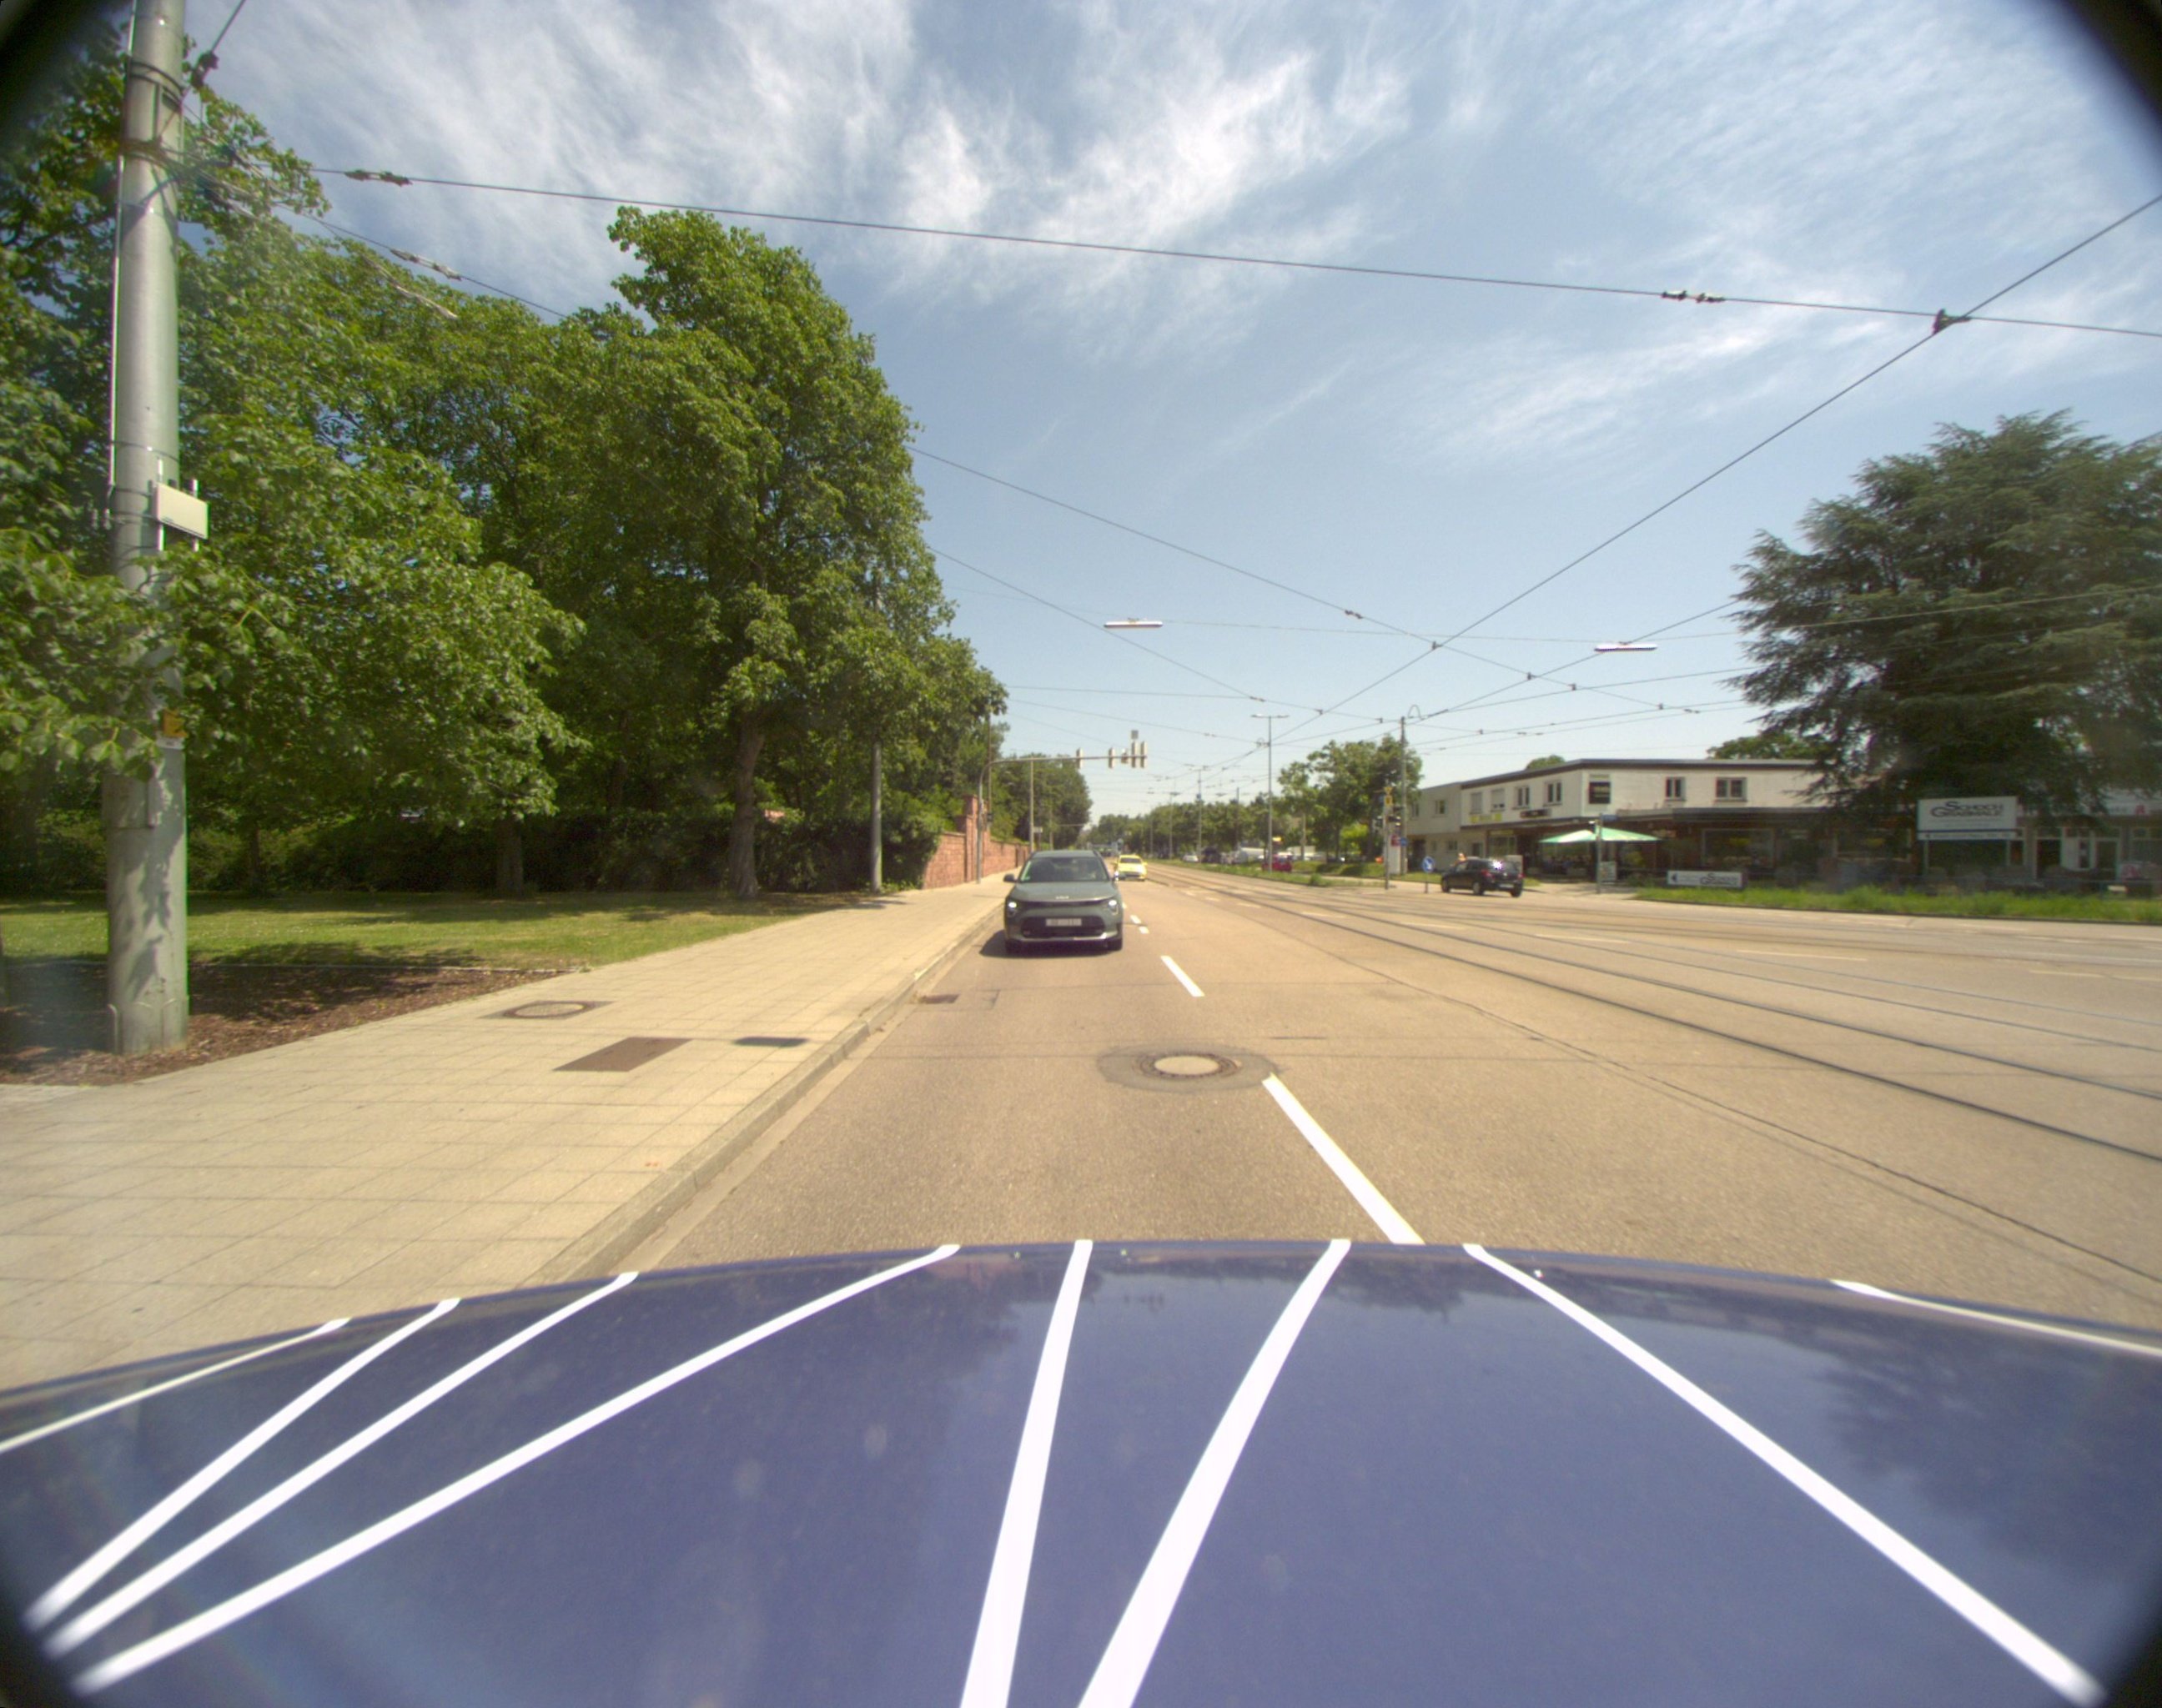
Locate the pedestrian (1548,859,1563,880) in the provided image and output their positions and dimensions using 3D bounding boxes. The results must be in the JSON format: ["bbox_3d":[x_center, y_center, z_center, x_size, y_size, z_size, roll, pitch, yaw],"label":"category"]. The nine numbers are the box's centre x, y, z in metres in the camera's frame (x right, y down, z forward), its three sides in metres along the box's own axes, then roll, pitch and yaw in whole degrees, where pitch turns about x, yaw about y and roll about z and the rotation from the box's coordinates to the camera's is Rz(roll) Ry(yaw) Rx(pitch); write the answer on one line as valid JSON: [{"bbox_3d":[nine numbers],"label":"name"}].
[{"bbox_3d":[28.637,0.919,45.855,0.576,1.231,0.491,0,1,0],"label":"pedestrian"}]

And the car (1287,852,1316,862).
[{"bbox_3d":[30.120,0.434,103.951,3.415,1.386,1.602,0,1,-5],"label":"car"}]

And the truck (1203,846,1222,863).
[{"bbox_3d":[20.740,0.045,119.850,2.225,2.526,4.929,1,0,1],"label":"truck"}]

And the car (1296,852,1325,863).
[{"bbox_3d":[30.682,0.490,101.691,3.415,1.386,1.602,0,1,-5],"label":"car"}]

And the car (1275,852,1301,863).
[{"bbox_3d":[31.412,0.524,115.180,3.415,1.497,1.602,0,1,-5],"label":"car"}]

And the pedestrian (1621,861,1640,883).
[{"bbox_3d":[28.821,0.962,39.842,0.518,1.121,0.674,1,1,1],"label":"pedestrian"}]

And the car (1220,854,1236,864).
[{"bbox_3d":[20.051,0.694,103.839,1.674,1.378,3.569,1,0,2],"label":"car"}]

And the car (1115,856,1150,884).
[{"bbox_3d":[2.878,0.875,43.040,1.620,1.413,3.655,3,1,0],"label":"car"}]

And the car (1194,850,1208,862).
[{"bbox_3d":[21.117,0.351,133.514,1.681,1.963,4.509,1,0,0],"label":"car"}]

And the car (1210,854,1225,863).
[{"bbox_3d":[20.373,0.647,113.642,1.674,1.378,3.670,1,0,2],"label":"car"}]

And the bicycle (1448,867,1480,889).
[{"bbox_3d":[20.317,1.254,40.344,0.696,1.142,1.931,0,0,0],"label":"bicycle"}]

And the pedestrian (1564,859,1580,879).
[{"bbox_3d":[30.045,0.918,46.499,0.518,1.157,0.674,1,1,1],"label":"pedestrian"}]

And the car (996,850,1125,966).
[{"bbox_3d":[-0.253,0.762,12.924,1.789,1.561,4.183,-2,1,1],"label":"car"}]

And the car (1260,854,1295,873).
[{"bbox_3d":[15.957,0.725,61.804,1.629,1.475,3.827,0,1,-4],"label":"car"}]

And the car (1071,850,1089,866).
[{"bbox_3d":[-0.093,0.441,85.010,1.998,1.652,3.999,1,1,1],"label":"car"}]

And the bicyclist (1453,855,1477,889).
[{"bbox_3d":[20.322,0.961,40.263,0.696,1.755,1.137,0,0,0],"label":"bicyclist"}]

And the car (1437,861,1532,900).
[{"bbox_3d":[16.117,1.016,30.579,1.714,1.430,3.864,0,1,-1],"label":"car"}]

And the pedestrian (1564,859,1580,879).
[{"bbox_3d":[29.258,0.878,45.300,0.518,1.192,0.674,1,1,1],"label":"pedestrian"}]

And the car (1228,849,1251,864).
[{"bbox_3d":[20.239,0.286,97.341,1.998,1.872,4.661,1,1,1],"label":"car"}]

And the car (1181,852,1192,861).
[{"bbox_3d":[20.914,0.495,150.492,1.681,1.693,3.823,1,0,0],"label":"car"}]

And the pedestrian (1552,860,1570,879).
[{"bbox_3d":[29.284,0.951,46.379,0.566,1.121,0.810,1,1,1],"label":"pedestrian"}]

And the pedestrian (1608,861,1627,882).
[{"bbox_3d":[29.016,0.940,41.095,0.518,1.121,0.674,1,1,1],"label":"pedestrian"}]

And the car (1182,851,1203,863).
[{"bbox_3d":[15.664,0.377,107.178,1.999,1.544,4.137,3,1,-4],"label":"car"}]

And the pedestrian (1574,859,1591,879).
[{"bbox_3d":[29.850,0.878,45.215,0.518,1.202,0.674,1,1,1],"label":"pedestrian"}]
